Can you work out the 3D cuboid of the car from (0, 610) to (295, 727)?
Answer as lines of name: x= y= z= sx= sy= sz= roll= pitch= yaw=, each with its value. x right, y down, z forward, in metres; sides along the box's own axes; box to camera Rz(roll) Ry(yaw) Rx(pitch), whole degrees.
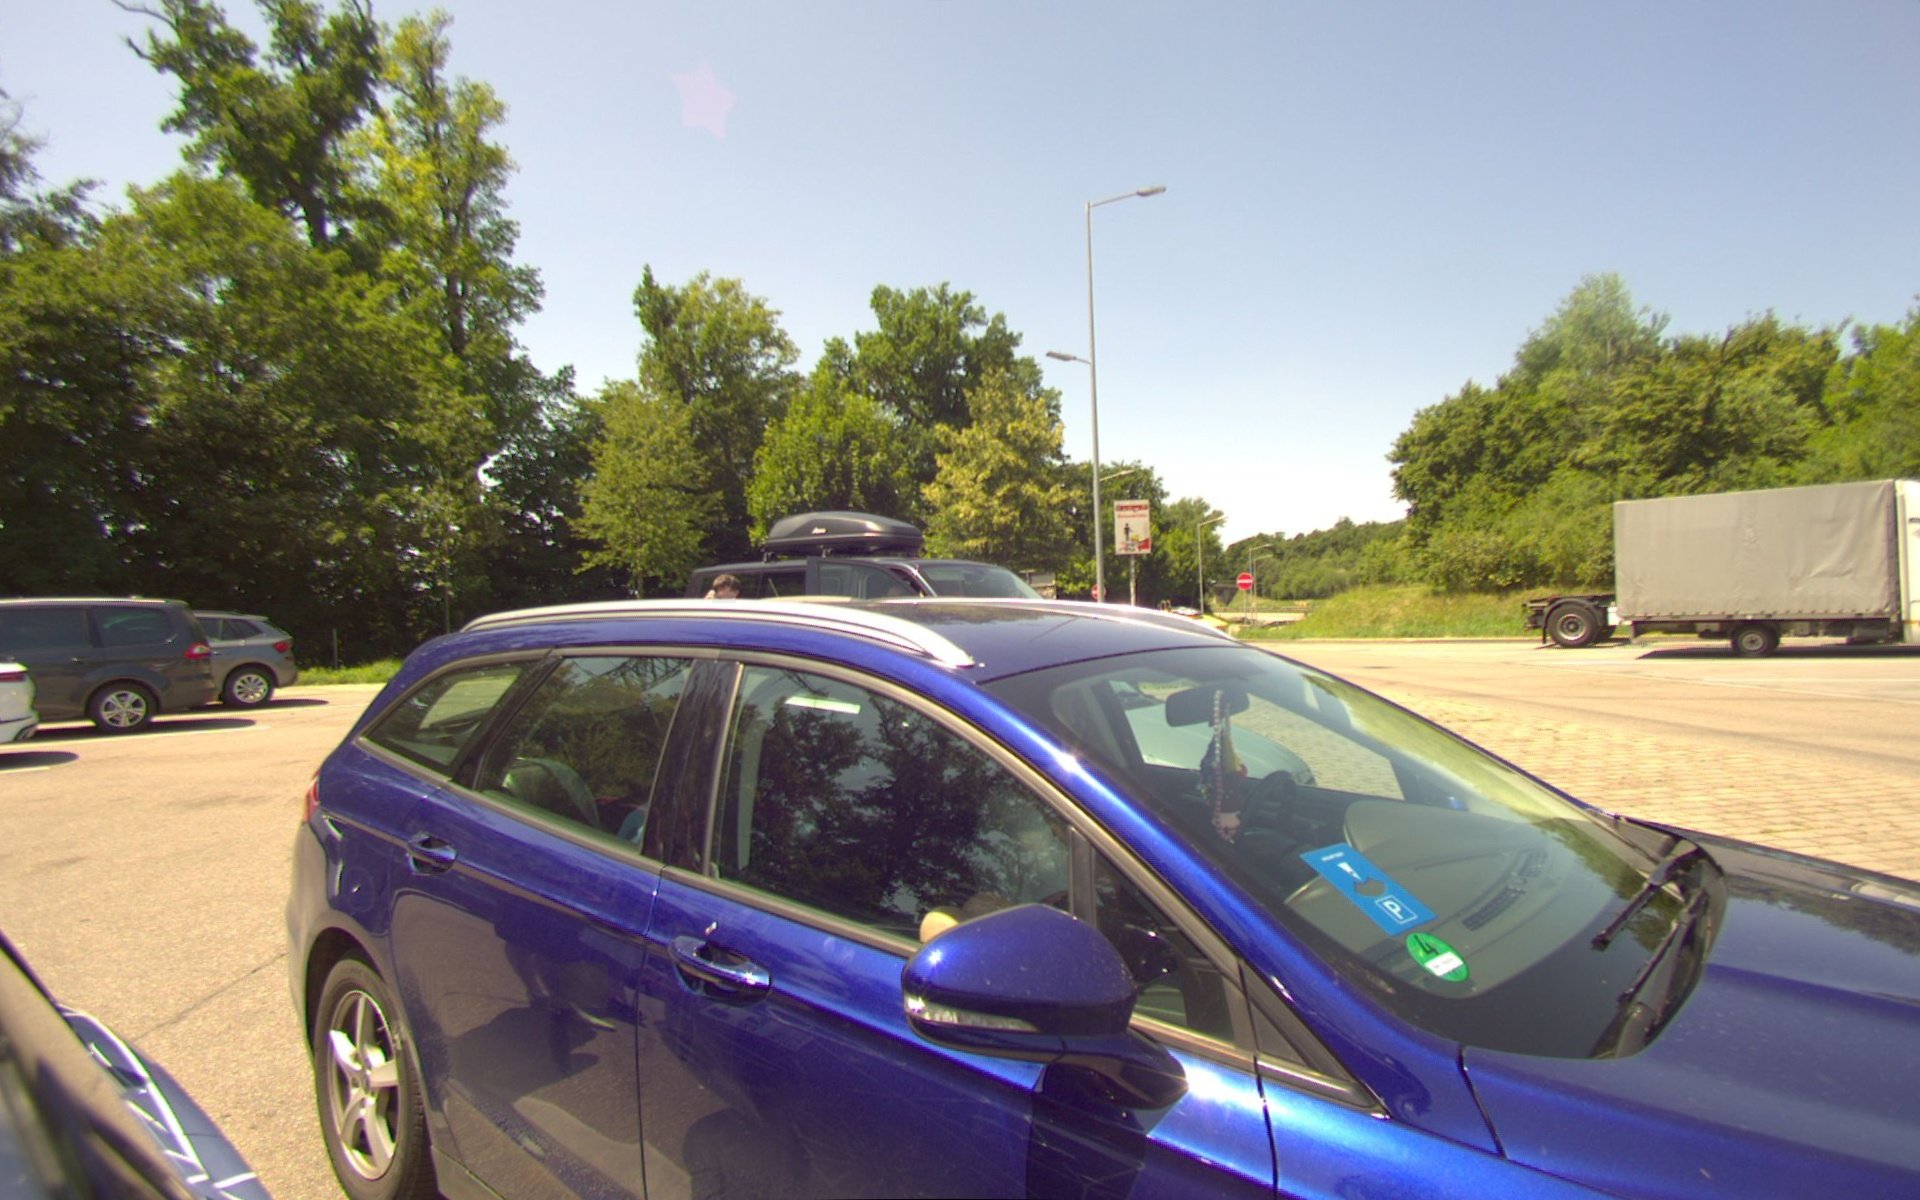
car: x=-12.617 y=0.974 z=15.659 sx=3.767 sy=1.572 sz=1.654 roll=-1 pitch=0 yaw=-38

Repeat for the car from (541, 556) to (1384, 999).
car: x=-0.315 y=0.670 z=5.607 sx=4.569 sy=1.517 sz=1.735 roll=-3 pitch=0 yaw=40

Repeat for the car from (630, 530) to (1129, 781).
car: x=-0.886 y=0.500 z=9.655 sx=4.558 sy=1.912 sz=1.740 roll=-3 pitch=0 yaw=32

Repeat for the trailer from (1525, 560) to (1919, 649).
trailer: x=17.711 y=0.159 z=23.107 sx=8.098 sy=1.638 sz=2.187 roll=-4 pitch=-1 yaw=41

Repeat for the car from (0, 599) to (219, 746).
car: x=-11.625 y=0.870 z=12.652 sx=3.767 sy=1.708 sz=1.654 roll=-1 pitch=0 yaw=-38

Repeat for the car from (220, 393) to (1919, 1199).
car: x=0.240 y=0.634 z=2.070 sx=4.569 sy=1.482 sz=1.735 roll=-3 pitch=0 yaw=40

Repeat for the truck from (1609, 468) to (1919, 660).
truck: x=16.787 y=-0.647 z=19.009 sx=7.274 sy=3.269 sz=2.678 roll=-4 pitch=-1 yaw=42

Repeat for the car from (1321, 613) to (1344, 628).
car: x=54.459 y=2.951 z=147.890 sx=1.973 sy=2.029 sz=3.998 roll=-1 pitch=0 yaw=2

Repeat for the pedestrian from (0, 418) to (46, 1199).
pedestrian: x=-2.721 y=0.521 z=2.239 sx=0.905 sy=1.919 sz=0.816 roll=-1 pitch=0 yaw=-33

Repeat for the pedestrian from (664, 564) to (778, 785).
pedestrian: x=-1.984 y=0.597 z=8.493 sx=0.745 sy=1.767 sz=0.785 roll=-1 pitch=0 yaw=2
